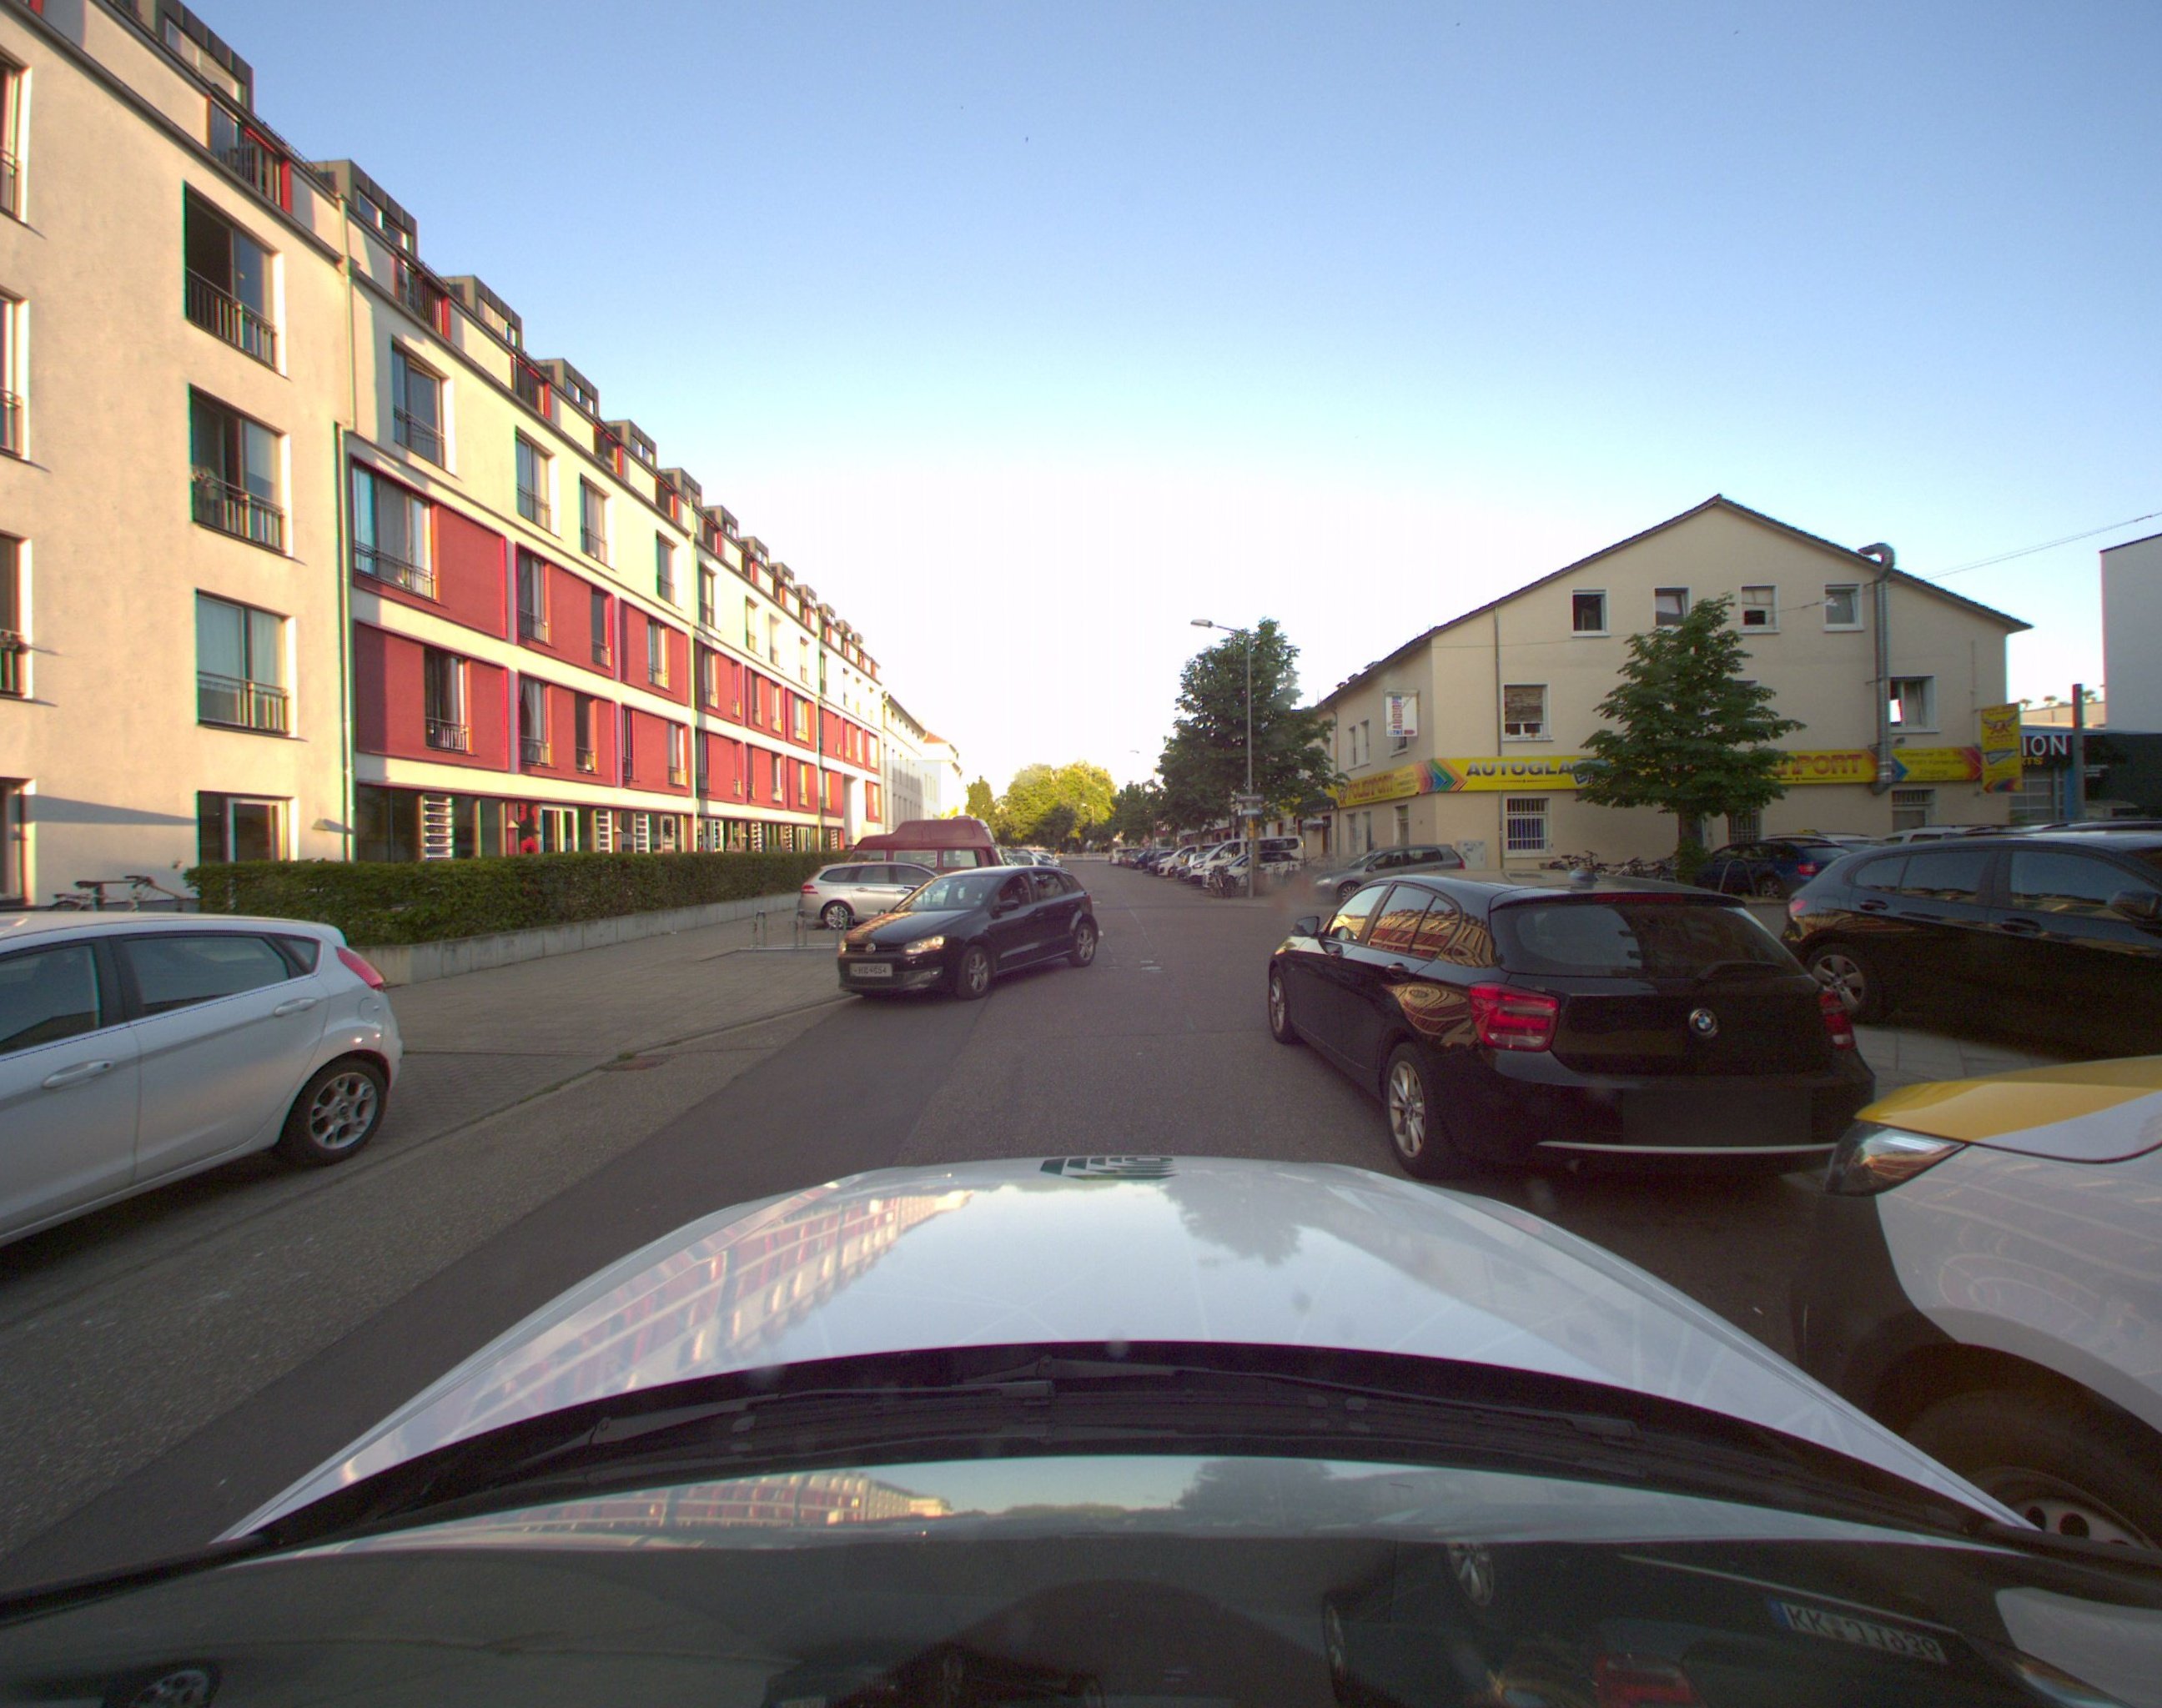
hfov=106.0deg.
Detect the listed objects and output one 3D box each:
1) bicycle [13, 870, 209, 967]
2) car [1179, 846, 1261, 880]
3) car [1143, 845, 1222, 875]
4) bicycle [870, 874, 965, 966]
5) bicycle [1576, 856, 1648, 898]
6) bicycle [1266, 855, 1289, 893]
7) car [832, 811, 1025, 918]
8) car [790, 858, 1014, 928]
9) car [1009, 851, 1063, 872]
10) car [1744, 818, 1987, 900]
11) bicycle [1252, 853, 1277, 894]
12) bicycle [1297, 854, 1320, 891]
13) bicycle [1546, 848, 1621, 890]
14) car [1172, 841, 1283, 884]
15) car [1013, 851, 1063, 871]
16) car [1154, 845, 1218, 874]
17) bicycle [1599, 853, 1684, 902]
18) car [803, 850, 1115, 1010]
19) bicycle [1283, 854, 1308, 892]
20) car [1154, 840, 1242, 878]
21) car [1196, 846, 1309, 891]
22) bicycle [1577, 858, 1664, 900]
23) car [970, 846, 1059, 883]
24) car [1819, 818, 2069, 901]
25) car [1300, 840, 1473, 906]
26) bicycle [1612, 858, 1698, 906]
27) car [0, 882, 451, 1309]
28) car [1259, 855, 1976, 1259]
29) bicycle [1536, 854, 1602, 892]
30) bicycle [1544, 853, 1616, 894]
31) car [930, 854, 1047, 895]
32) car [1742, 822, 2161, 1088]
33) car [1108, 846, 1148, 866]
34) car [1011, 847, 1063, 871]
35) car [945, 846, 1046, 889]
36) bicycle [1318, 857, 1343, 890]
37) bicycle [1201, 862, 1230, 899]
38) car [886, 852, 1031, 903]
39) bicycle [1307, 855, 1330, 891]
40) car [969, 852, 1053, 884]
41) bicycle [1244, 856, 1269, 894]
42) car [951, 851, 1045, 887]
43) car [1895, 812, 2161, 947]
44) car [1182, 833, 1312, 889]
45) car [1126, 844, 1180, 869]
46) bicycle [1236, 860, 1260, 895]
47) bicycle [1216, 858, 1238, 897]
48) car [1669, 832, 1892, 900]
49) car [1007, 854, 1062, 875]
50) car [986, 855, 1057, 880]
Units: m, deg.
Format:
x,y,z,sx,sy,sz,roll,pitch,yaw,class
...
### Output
x,y,z,sx,sy,sz,roll,pitch,yaw,class
-12.033,0.781,10.133,1.768,1.148,0.611,0,0,3,bicycle
7.170,0.450,42.193,3.897,1.526,1.940,-3,0,1,car
6.728,0.369,54.324,4.930,1.689,2.076,-3,0,-1,car
-2.502,0.962,12.891,0.804,1.221,2.867,0,0,2,bicycle
13.525,0.576,20.755,1.596,1.041,0.344,0,2,2,bicycle
6.549,0.660,27.146,0.384,1.200,1.482,-2,0,1,bicycle
-3.776,0.248,20.782,4.493,2.584,2.001,0,0,2,car
-3.848,0.820,18.203,4.604,1.460,1.879,0,0,-3,car
-3.657,0.633,66.867,4.242,1.714,2.000,0,0,0,car
19.888,0.072,20.987,1.866,1.831,4.577,-2,1,0,car
6.132,0.635,27.307,0.384,1.304,2.018,-2,0,1,bicycle
7.551,0.600,27.093,0.351,1.200,1.482,-2,0,1,bicycle
14.094,0.415,22.835,1.853,1.149,0.344,0,2,2,bicycle
6.946,0.404,39.028,4.926,1.742,2.050,-3,0,1,car
-3.730,0.576,71.640,4.242,1.749,2.000,0,0,0,car
7.602,0.409,59.228,4.304,1.804,1.810,-3,0,-1,car
13.476,0.552,19.586,1.917,1.128,0.427,-1,1,-8,bicycle
-1.271,0.795,10.152,1.636,1.455,3.967,-4,0,30,car
7.123,0.608,27.107,0.443,1.200,1.482,-2,0,1,bicycle
7.060,0.300,49.542,4.930,1.958,2.048,-3,0,-1,car
6.562,0.535,31.432,3.908,1.451,1.767,-3,0,-2,car
13.391,0.608,20.228,1.842,1.010,0.428,0,2,2,bicycle
-3.676,0.569,45.767,4.834,2.021,1.907,0,0,0,car
22.191,0.182,21.247,1.866,1.902,4.331,-2,-1,0,car
8.218,0.484,22.180,4.035,1.514,1.757,-3,2,1,car
13.485,0.650,19.142,1.848,1.075,0.427,-1,2,-8,bicycle
-4.924,0.963,3.322,1.646,1.530,4.014,-1,0,-2,car
2.390,0.733,5.051,1.715,1.424,4.254,0,0,1,car
13.364,0.527,22.320,1.597,1.019,0.343,0,2,-1,bicycle
13.456,0.518,21.970,1.725,1.070,0.343,0,2,-1,bicycle
-3.455,0.765,30.957,4.194,1.490,1.850,0,0,1,car
6.750,0.528,5.022,1.721,1.424,4.422,-3,0,0,car
5.022,0.192,87.431,3.960,1.911,2.046,-3,0,-4,car
-3.979,0.446,74.280,4.518,2.134,2.000,0,0,0,car
-3.769,0.578,36.382,4.242,1.836,2.000,0,0,0,car
8.319,0.636,27.211,0.386,1.017,1.482,-2,0,1,bicycle
4.465,0.852,27.110,0.437,1.130,2.014,-2,0,-4,bicycle
-3.833,0.720,25.918,4.187,1.538,1.845,0,0,6,car
7.914,0.627,27.170,0.351,1.143,1.482,-2,0,1,bicycle
-3.646,0.739,43.210,4.242,1.652,1.888,0,0,0,car
5.873,0.690,27.300,0.384,1.200,2.018,-2,0,1,bicycle
-3.907,0.682,38.856,4.242,1.660,2.000,0,0,0,car
14.407,0.300,11.323,4.306,1.672,1.877,-2,-2,-1,car
6.877,0.267,34.216,4.972,1.983,2.220,-3,0,1,car
6.337,0.234,72.032,4.470,1.911,1.685,-3,0,-4,car
5.591,0.764,27.317,0.384,1.114,2.018,-2,0,1,bicycle
4.882,0.764,27.292,0.384,1.200,2.018,-2,0,1,bicycle
17.662,0.274,20.916,1.736,1.509,4.570,-2,0,-1,car
-3.640,0.794,64.124,4.243,1.622,2.000,0,0,0,car
-3.648,0.803,50.456,4.242,1.505,2.000,0,0,0,car
